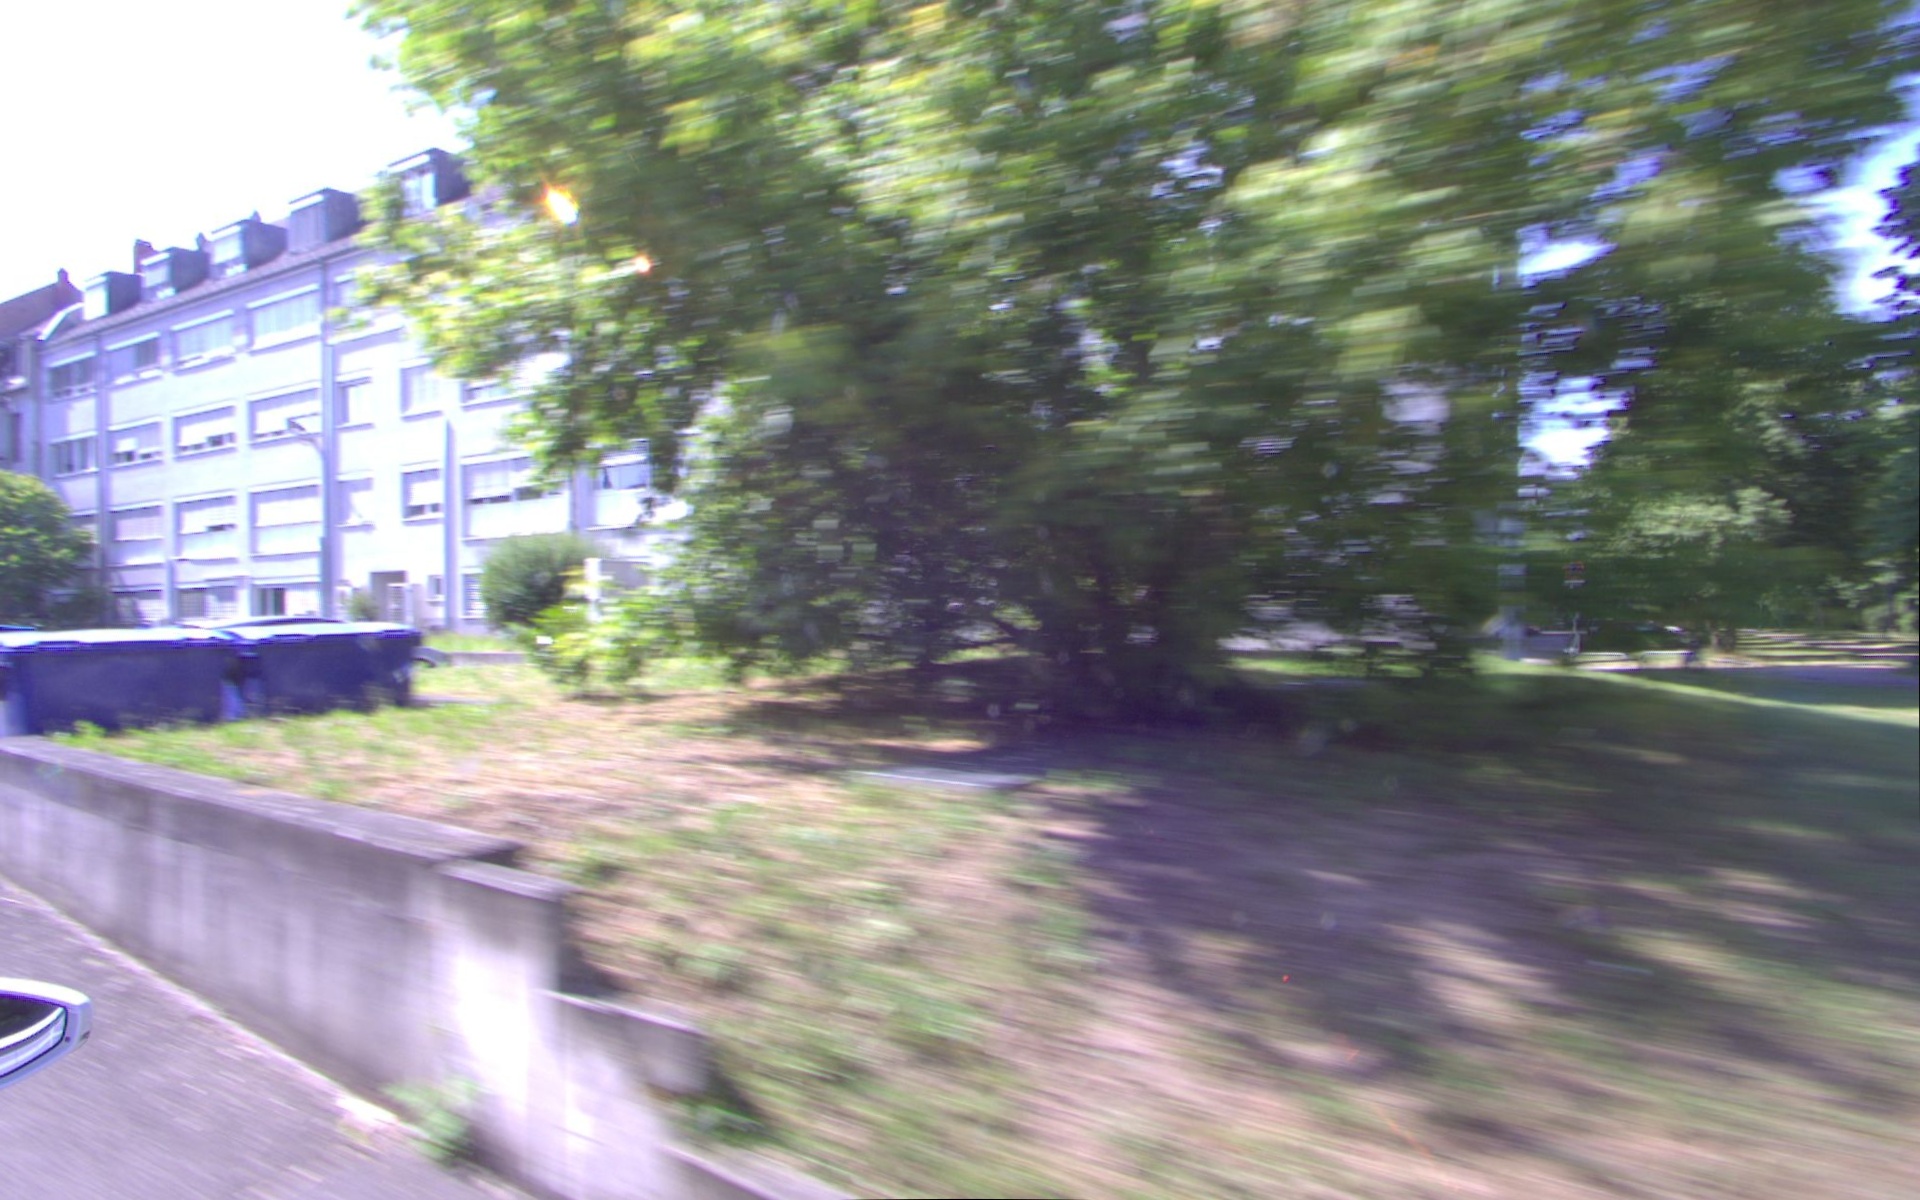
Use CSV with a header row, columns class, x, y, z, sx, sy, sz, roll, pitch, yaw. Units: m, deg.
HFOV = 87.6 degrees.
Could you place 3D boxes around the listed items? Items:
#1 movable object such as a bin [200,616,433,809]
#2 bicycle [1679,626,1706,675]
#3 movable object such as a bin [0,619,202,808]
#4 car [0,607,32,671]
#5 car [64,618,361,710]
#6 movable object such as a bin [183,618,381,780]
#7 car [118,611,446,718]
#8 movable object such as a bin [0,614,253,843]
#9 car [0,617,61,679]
class,x,y,z,sx,sy,sz,roll,pitch,yaw
movable object such as a bin,-5.087,0.816,7.943,1.128,1.358,1.242,-1,0,38
bicycle,16.674,1.140,22.800,0.389,1.063,1.442,0,-1,32
movable object such as a bin,-7.160,0.852,8.162,1.112,1.373,1.245,-1,0,32
car,-28.606,1.117,26.932,2.061,1.791,4.954,0,0,22
car,-13.329,1.062,18.088,1.666,1.412,3.976,-1,0,34
movable object such as a bin,-6.257,0.856,9.267,1.126,1.354,1.153,-1,0,32
car,-10.669,0.931,16.047,1.786,1.446,3.979,-1,0,32
movable object such as a bin,-5.818,0.803,6.873,1.128,1.337,1.242,-2,0,37
car,-25.825,1.244,25.312,1.971,1.553,4.221,0,0,31
